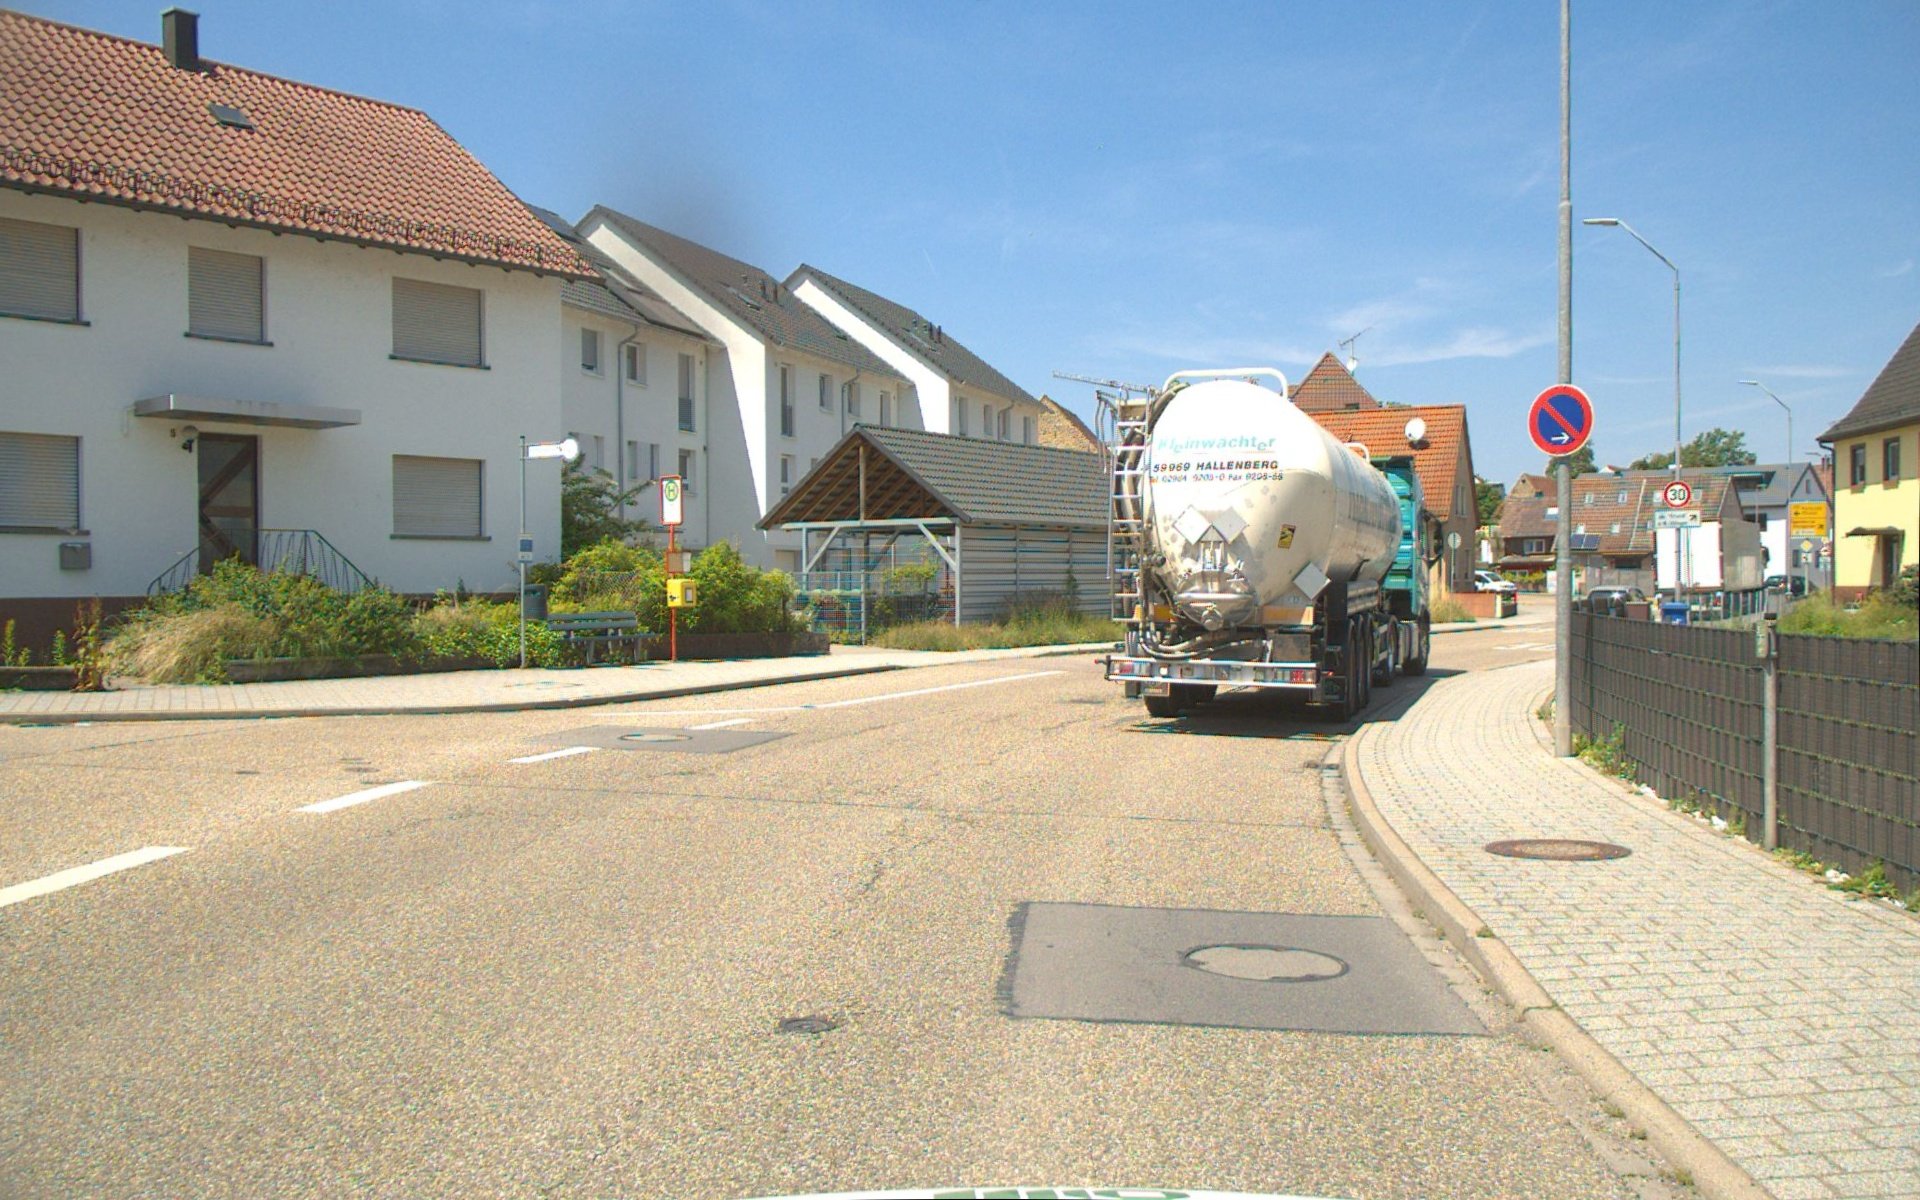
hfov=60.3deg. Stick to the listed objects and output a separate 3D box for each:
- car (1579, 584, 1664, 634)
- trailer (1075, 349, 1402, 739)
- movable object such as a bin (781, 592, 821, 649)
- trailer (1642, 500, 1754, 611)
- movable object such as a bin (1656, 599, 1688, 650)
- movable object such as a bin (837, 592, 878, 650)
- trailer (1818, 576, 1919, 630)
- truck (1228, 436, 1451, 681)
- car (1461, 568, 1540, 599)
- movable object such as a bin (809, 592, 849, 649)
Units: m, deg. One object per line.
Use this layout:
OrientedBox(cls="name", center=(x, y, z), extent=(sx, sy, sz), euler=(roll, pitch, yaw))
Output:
OrientedBox(cls="car", center=(20.976, 0.252, 52.360), extent=(1.809, 1.512, 3.990), euler=(0, 0, 32))
OrientedBox(cls="trailer", center=(4.374, -0.608, 22.999), extent=(2.890, 4.017, 11.624), euler=(0, 0, 18))
OrientedBox(cls="movable object such as a bin", center=(-3.692, 0.466, 38.321), extent=(0.628, 1.301, 0.692), euler=(1, 0, 32))
OrientedBox(cls="trailer", center=(31.782, -1.732, 70.904), extent=(3.074, 4.352, 12.470), euler=(1, 0, 30))
OrientedBox(cls="movable object such as a bin", center=(15.281, 0.525, 35.498), extent=(0.553, 1.076, 0.651), euler=(-1, 0, 17))
OrientedBox(cls="movable object such as a bin", center=(-2.319, 0.461, 37.498), extent=(0.628, 1.301, 0.692), euler=(1, 0, 32))
OrientedBox(cls="trailer", center=(28.600, 0.092, 48.986), extent=(5.234, 1.573, 2.139), euler=(1, 0, 4))
OrientedBox(cls="truck", center=(7.105, -0.752, 30.414), extent=(2.928, 4.034, 5.576), euler=(1, 1, 24))
OrientedBox(cls="car", center=(33.692, -1.043, 103.136), extent=(1.859, 1.816, 4.465), euler=(-2, 2, -36))
OrientedBox(cls="movable object such as a bin", center=(-2.998, 0.464, 37.939), extent=(0.628, 1.301, 0.692), euler=(1, 0, 32))
